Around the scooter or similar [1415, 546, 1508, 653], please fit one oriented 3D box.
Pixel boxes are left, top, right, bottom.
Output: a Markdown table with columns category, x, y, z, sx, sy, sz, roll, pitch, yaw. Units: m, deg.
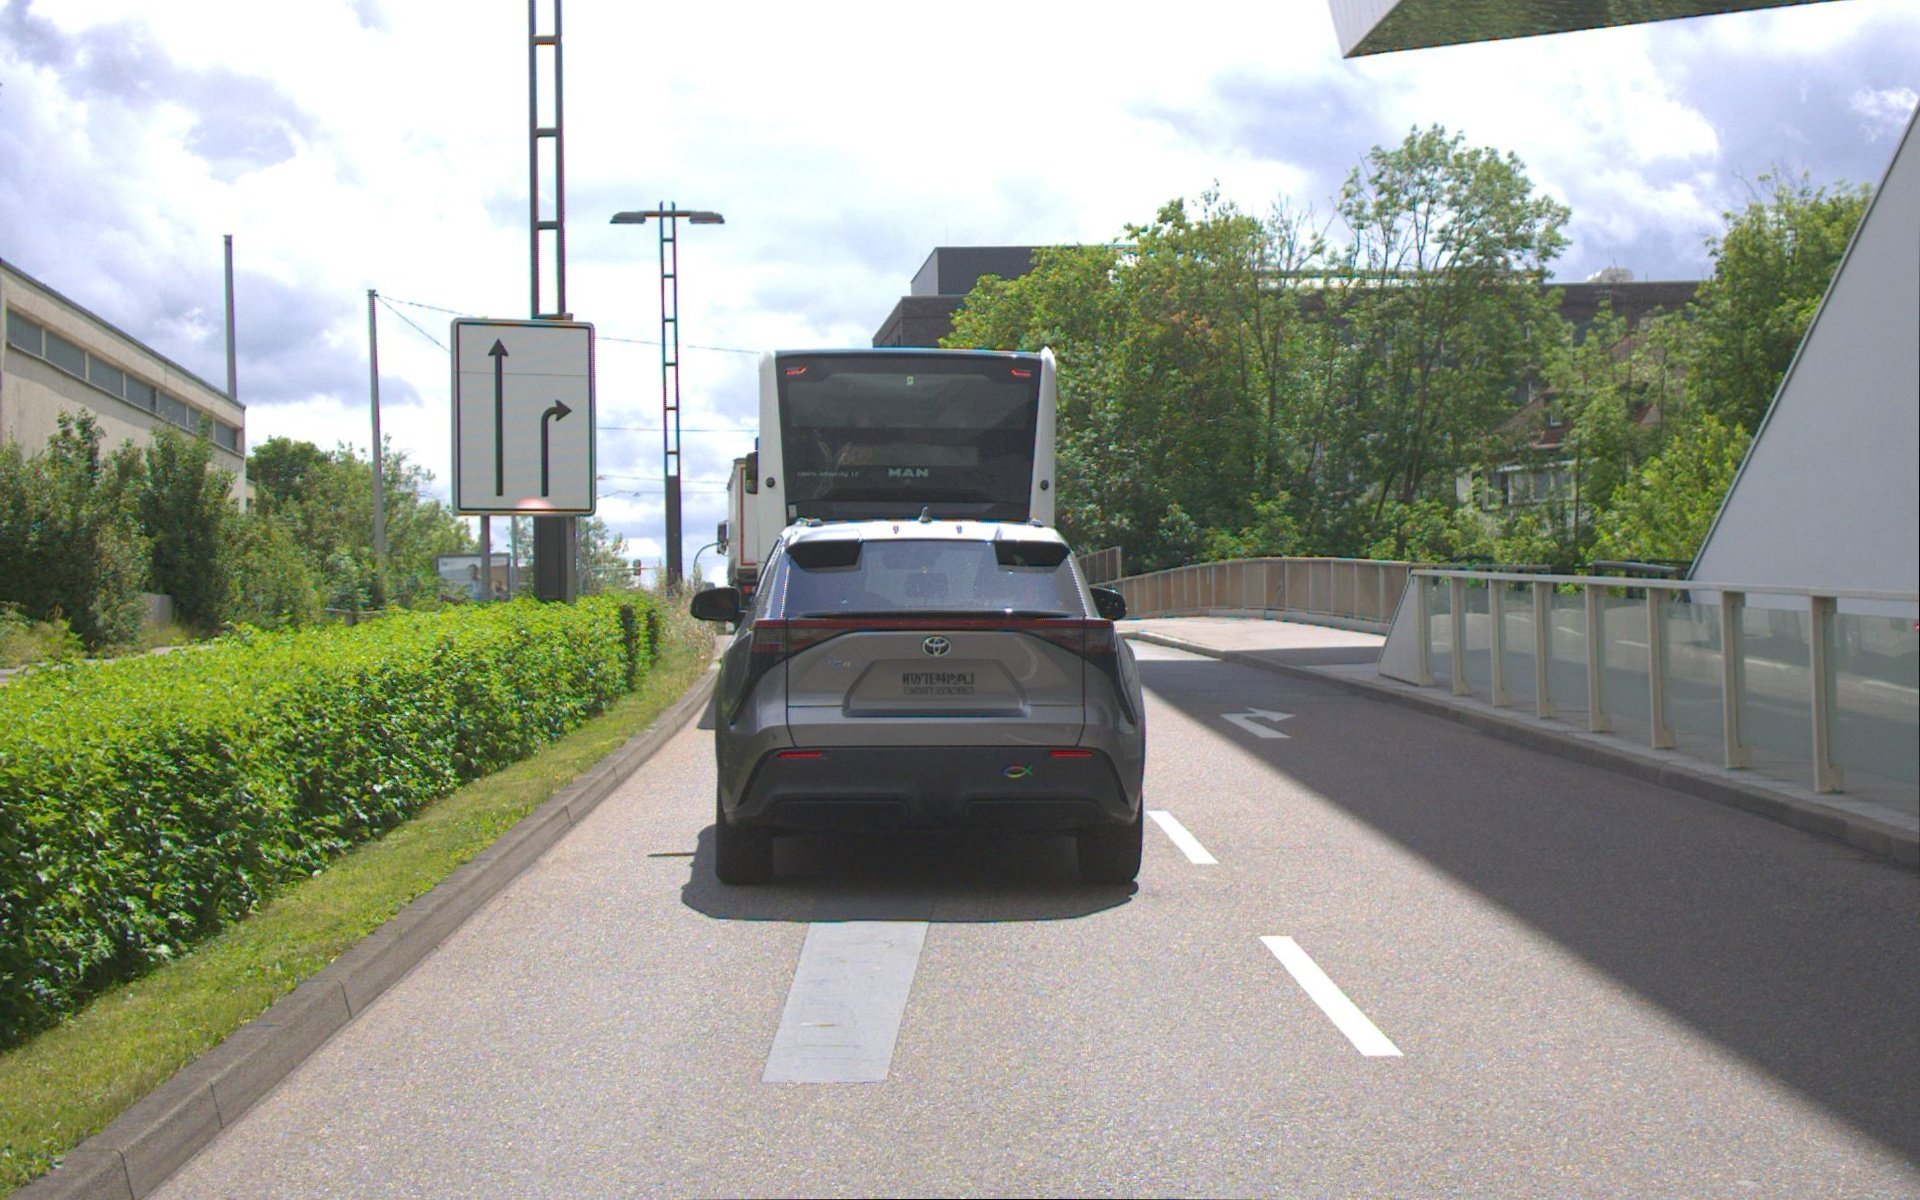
| category | x | y | z | sx | sy | sz | roll | pitch | yaw |
| --- | --- | --- | --- | --- | --- | --- | --- | --- | --- |
| scooter or similar | 5.844 | -0.012 | 40.181 | 0.653 | 1.210 | 1.858 | -2 | 0 | -4 |

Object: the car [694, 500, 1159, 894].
| category | x | y | z | sx | sy | sz | roll | pitch | yaw |
| --- | --- | --- | --- | --- | --- | --- | --- | --- | --- |
| car | -0.197 | 0.379 | 16.077 | 1.879 | 1.588 | 4.230 | 0 | 0 | -2 |

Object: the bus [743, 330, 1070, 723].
| category | x | y | z | sx | sy | sz | roll | pitch | yaw |
| --- | --- | --- | --- | --- | --- | --- | --- | --- | --- |
| bus | -0.484 | -0.786 | 34.660 | 2.689 | 3.244 | 12.058 | 1 | 2 | 0 |

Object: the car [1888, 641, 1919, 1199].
| category | x | y | z | sx | sy | sz | roll | pitch | yaw |
| --- | --- | --- | --- | --- | --- | --- | --- | --- | --- |
| car | 2.558 | 0.729 | 4.138 | 1.720 | 1.271 | 4.088 | 0 | 1 | -1 |
